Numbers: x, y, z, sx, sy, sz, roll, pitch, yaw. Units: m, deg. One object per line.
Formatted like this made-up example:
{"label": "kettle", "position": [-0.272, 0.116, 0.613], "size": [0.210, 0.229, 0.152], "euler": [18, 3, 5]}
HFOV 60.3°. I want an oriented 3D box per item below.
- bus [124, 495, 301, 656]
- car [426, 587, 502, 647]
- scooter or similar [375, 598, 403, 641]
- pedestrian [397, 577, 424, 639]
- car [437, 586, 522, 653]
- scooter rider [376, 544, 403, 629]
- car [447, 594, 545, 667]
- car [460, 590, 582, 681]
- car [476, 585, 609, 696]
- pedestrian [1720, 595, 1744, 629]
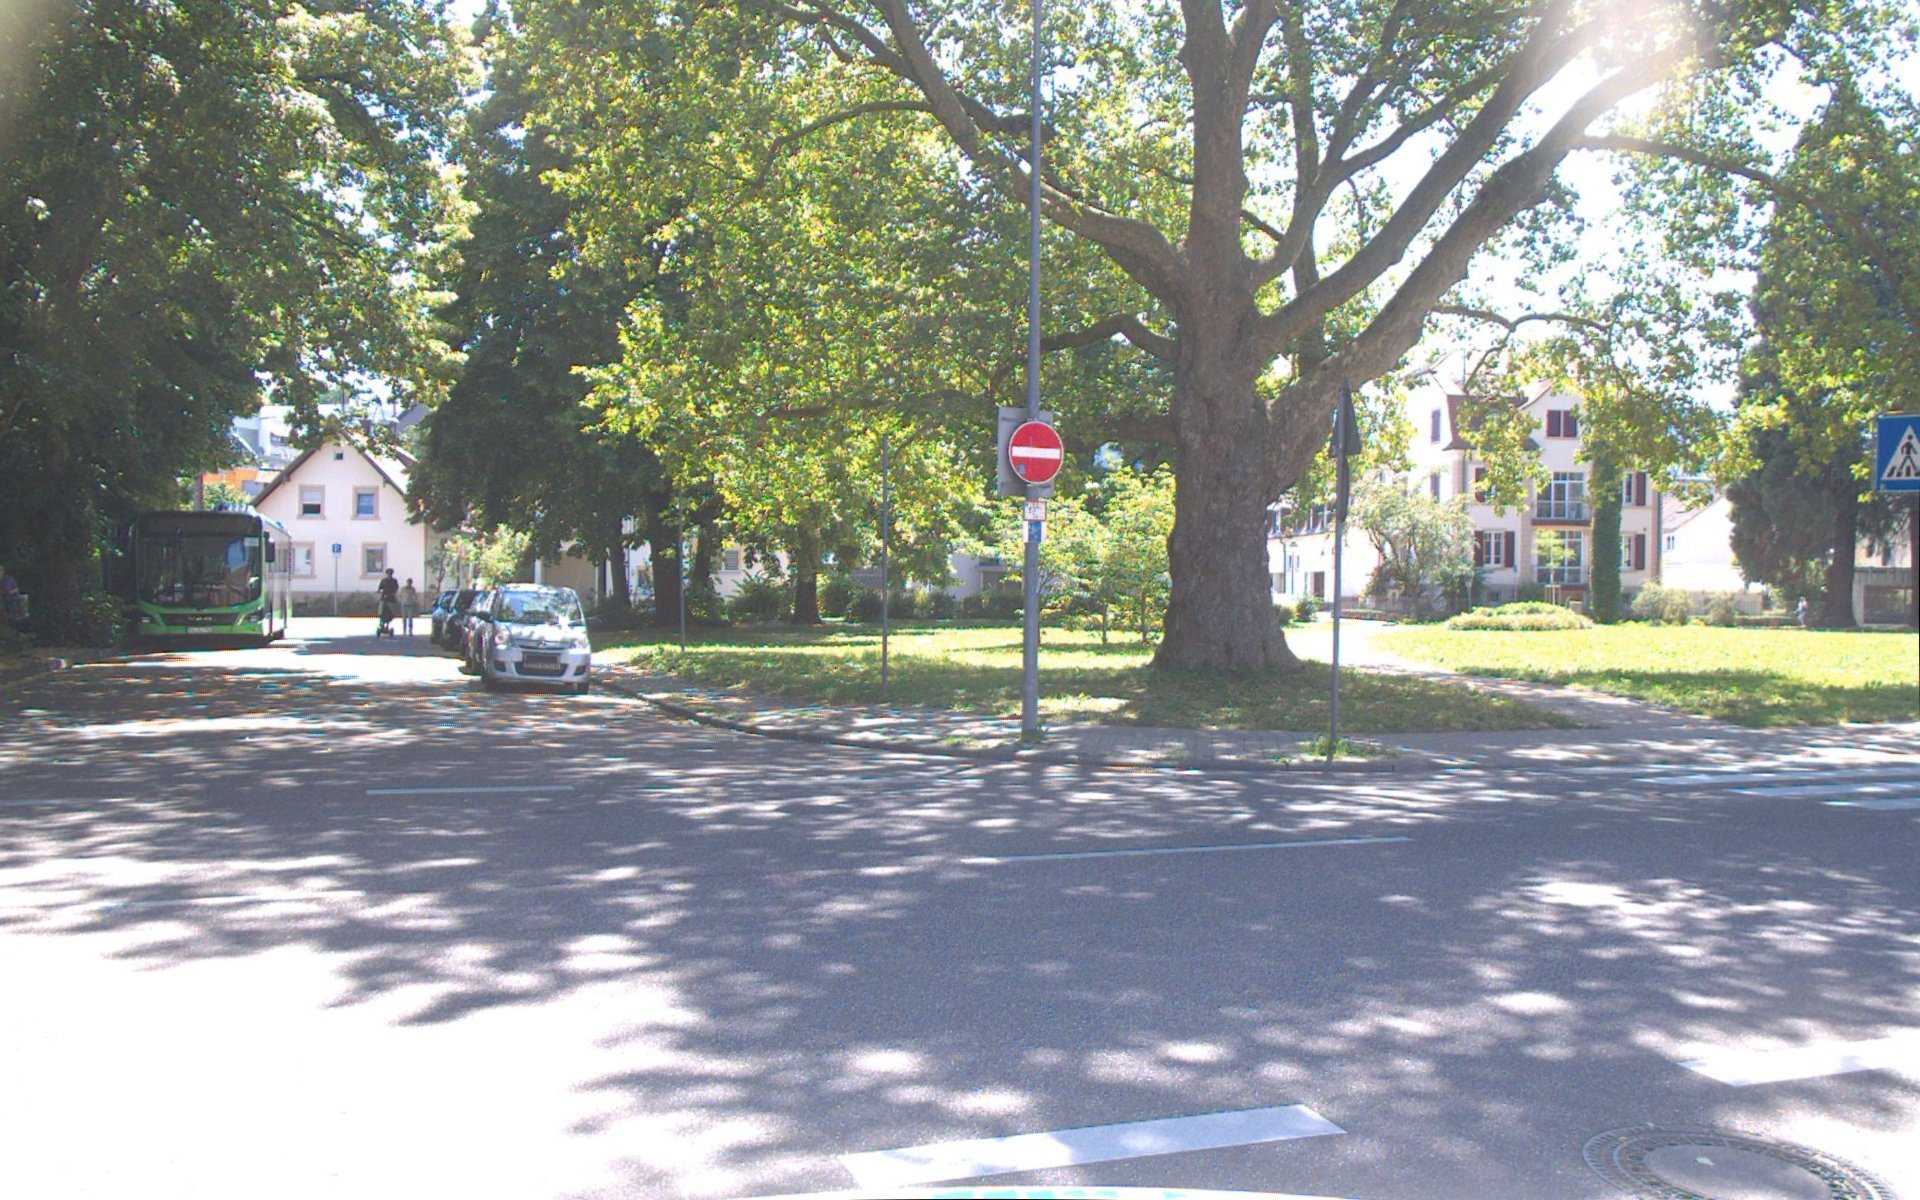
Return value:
{"label": "bus", "position": [-18.800, -0.576, 42.529], "size": [2.825, 3.352, 15.859], "euler": [0, 0, -20]}
{"label": "car", "position": [-13.368, 0.425, 44.442], "size": [1.728, 1.519, 3.895], "euler": [0, 0, -20]}
{"label": "scooter or similar", "position": [-16.178, 0.542, 46.892], "size": [0.727, 1.204, 1.511], "euler": [0, 1, -19]}
{"label": "pedestrian", "position": [-16.664, 0.235, 50.205], "size": [0.707, 1.833, 0.937], "euler": [0, 0, -14]}
{"label": "car", "position": [-11.808, 0.436, 40.506], "size": [1.728, 1.519, 4.350], "euler": [0, 0, -20]}
{"label": "scooter rider", "position": [-16.175, -0.386, 46.899], "size": [0.727, 2.358, 0.922], "euler": [0, 0, -19]}
{"label": "car", "position": [-10.181, 0.616, 36.071], "size": [1.724, 1.464, 4.742], "euler": [0, 0, -20]}
{"label": "car", "position": [-7.979, 0.594, 29.809], "size": [1.724, 1.464, 4.477], "euler": [2, 0, -20]}
{"label": "car", "position": [-6.296, 0.558, 24.715], "size": [1.571, 1.523, 3.466], "euler": [2, 0, -20]}
{"label": "pedestrian", "position": [33.067, 0.520, 70.858], "size": [0.809, 1.394, 0.617], "euler": [3, 2, 30]}
